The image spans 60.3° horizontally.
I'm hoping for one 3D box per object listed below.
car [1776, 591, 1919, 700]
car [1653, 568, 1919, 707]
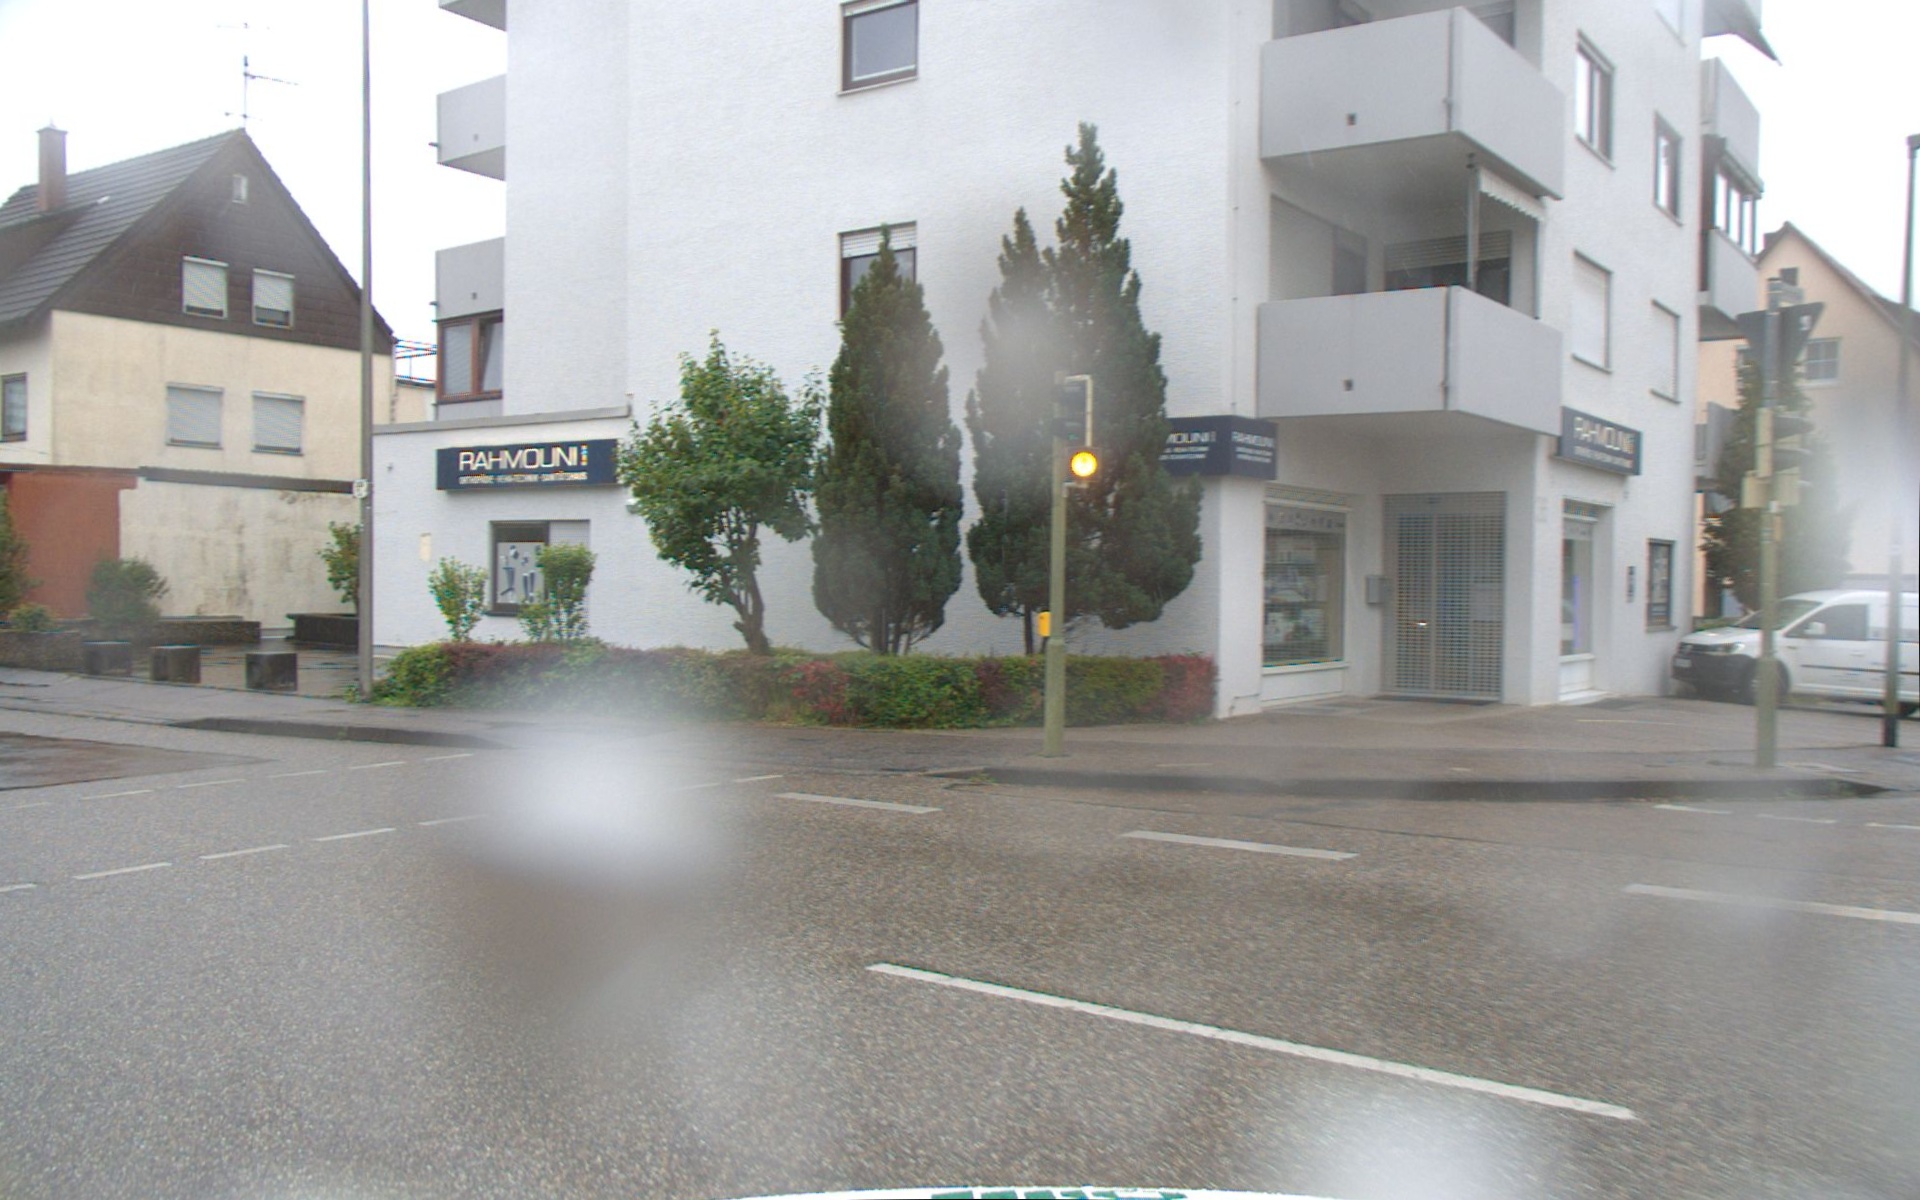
[{"bbox_3d":[17.701,0.836,30.336,4.513,1.922,1.963,0,-1,-1],"label":"car"},{"bbox_3d":[13.105,0.615,24.807,4.618,1.809,1.772,4,-2,-1],"label":"car"}]
